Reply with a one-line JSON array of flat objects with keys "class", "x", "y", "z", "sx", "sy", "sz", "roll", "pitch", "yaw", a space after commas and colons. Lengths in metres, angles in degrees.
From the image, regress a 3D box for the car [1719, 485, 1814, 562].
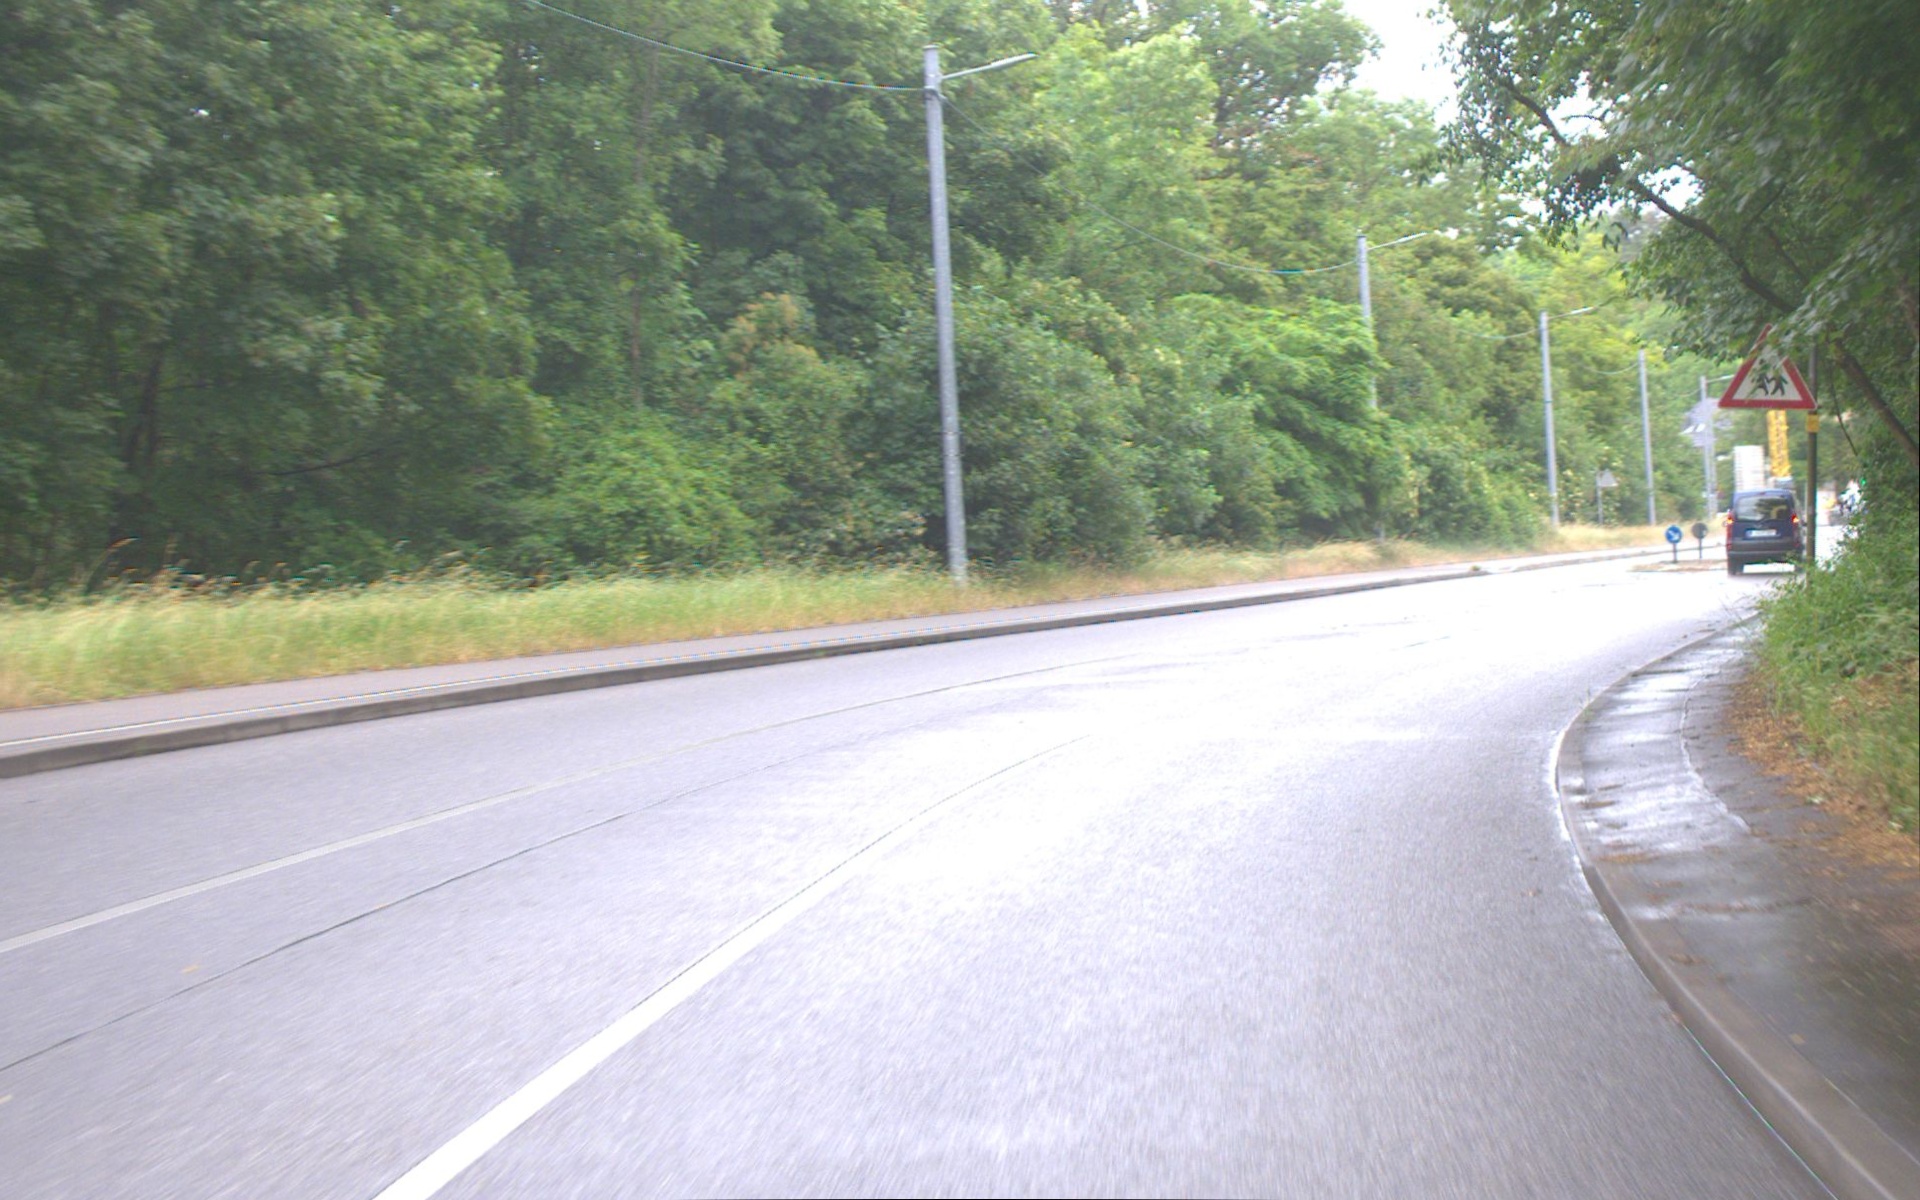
[{"class": "car", "x": 17.679, "y": -1.679, "z": 75.267, "sx": 1.669, "sy": 1.588, "sz": 3.680, "roll": -1, "pitch": 1, "yaw": 18}]
